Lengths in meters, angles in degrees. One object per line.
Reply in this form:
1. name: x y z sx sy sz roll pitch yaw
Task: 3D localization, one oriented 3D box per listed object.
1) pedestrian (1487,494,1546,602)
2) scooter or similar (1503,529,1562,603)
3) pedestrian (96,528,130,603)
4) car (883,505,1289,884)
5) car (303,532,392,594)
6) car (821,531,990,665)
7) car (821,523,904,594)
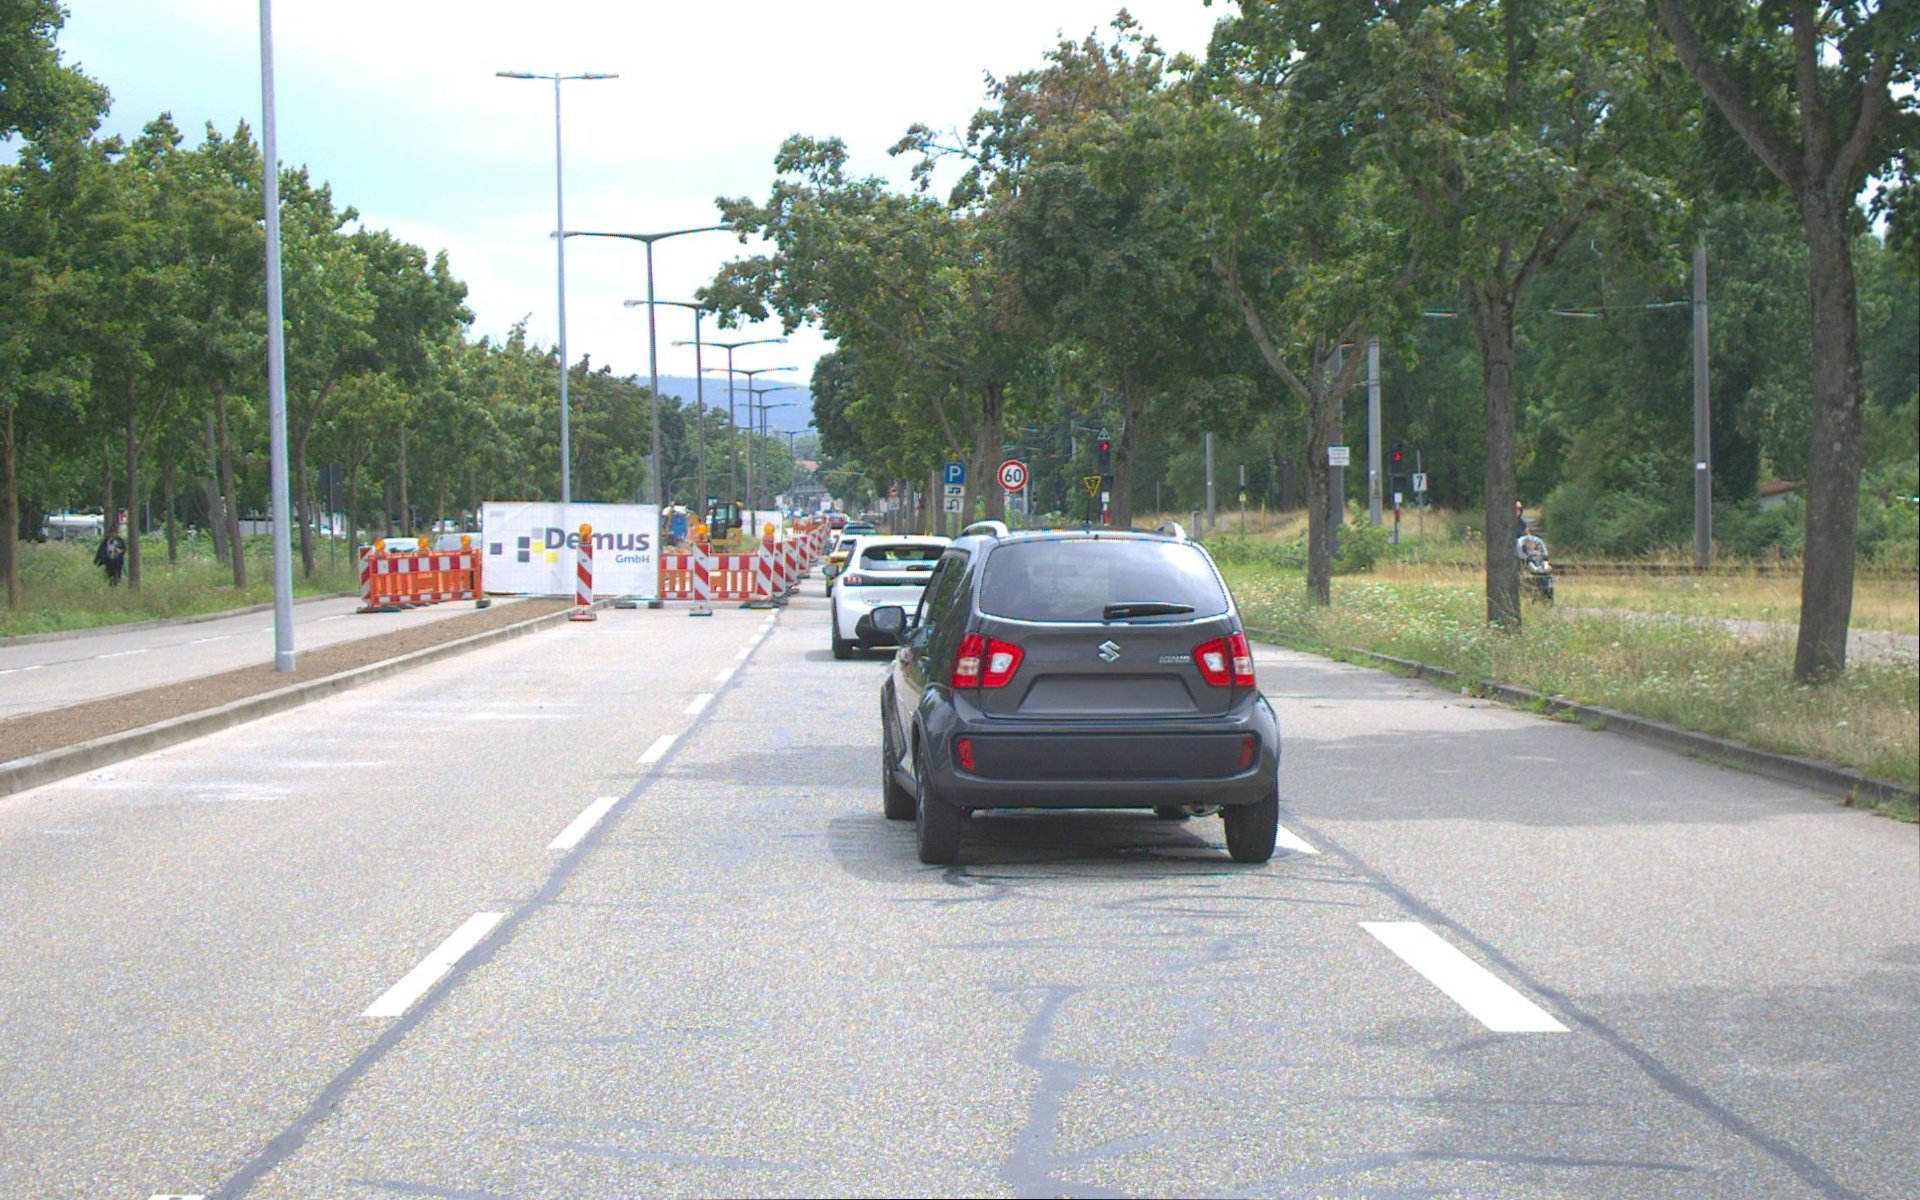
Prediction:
1. pedestrian: 8.824 -0.835 54.551 0.690 1.689 0.934 -1 2 -6
2. scooter or similar: 8.928 -0.530 53.624 0.681 1.126 0.934 -1 2 -6
3. pedestrian: -20.862 -0.854 84.713 0.690 1.832 0.651 -1 2 -23
4. car: 0.516 0.363 17.208 1.703 1.662 4.001 0 2 -3
5. car: -16.034 -0.990 90.166 1.690 1.472 4.001 -2 2 -2
6. car: -0.696 -0.062 41.189 1.766 1.459 4.001 -1 2 -4
7. car: -2.255 -0.987 80.151 1.793 1.556 4.000 -1 2 0
